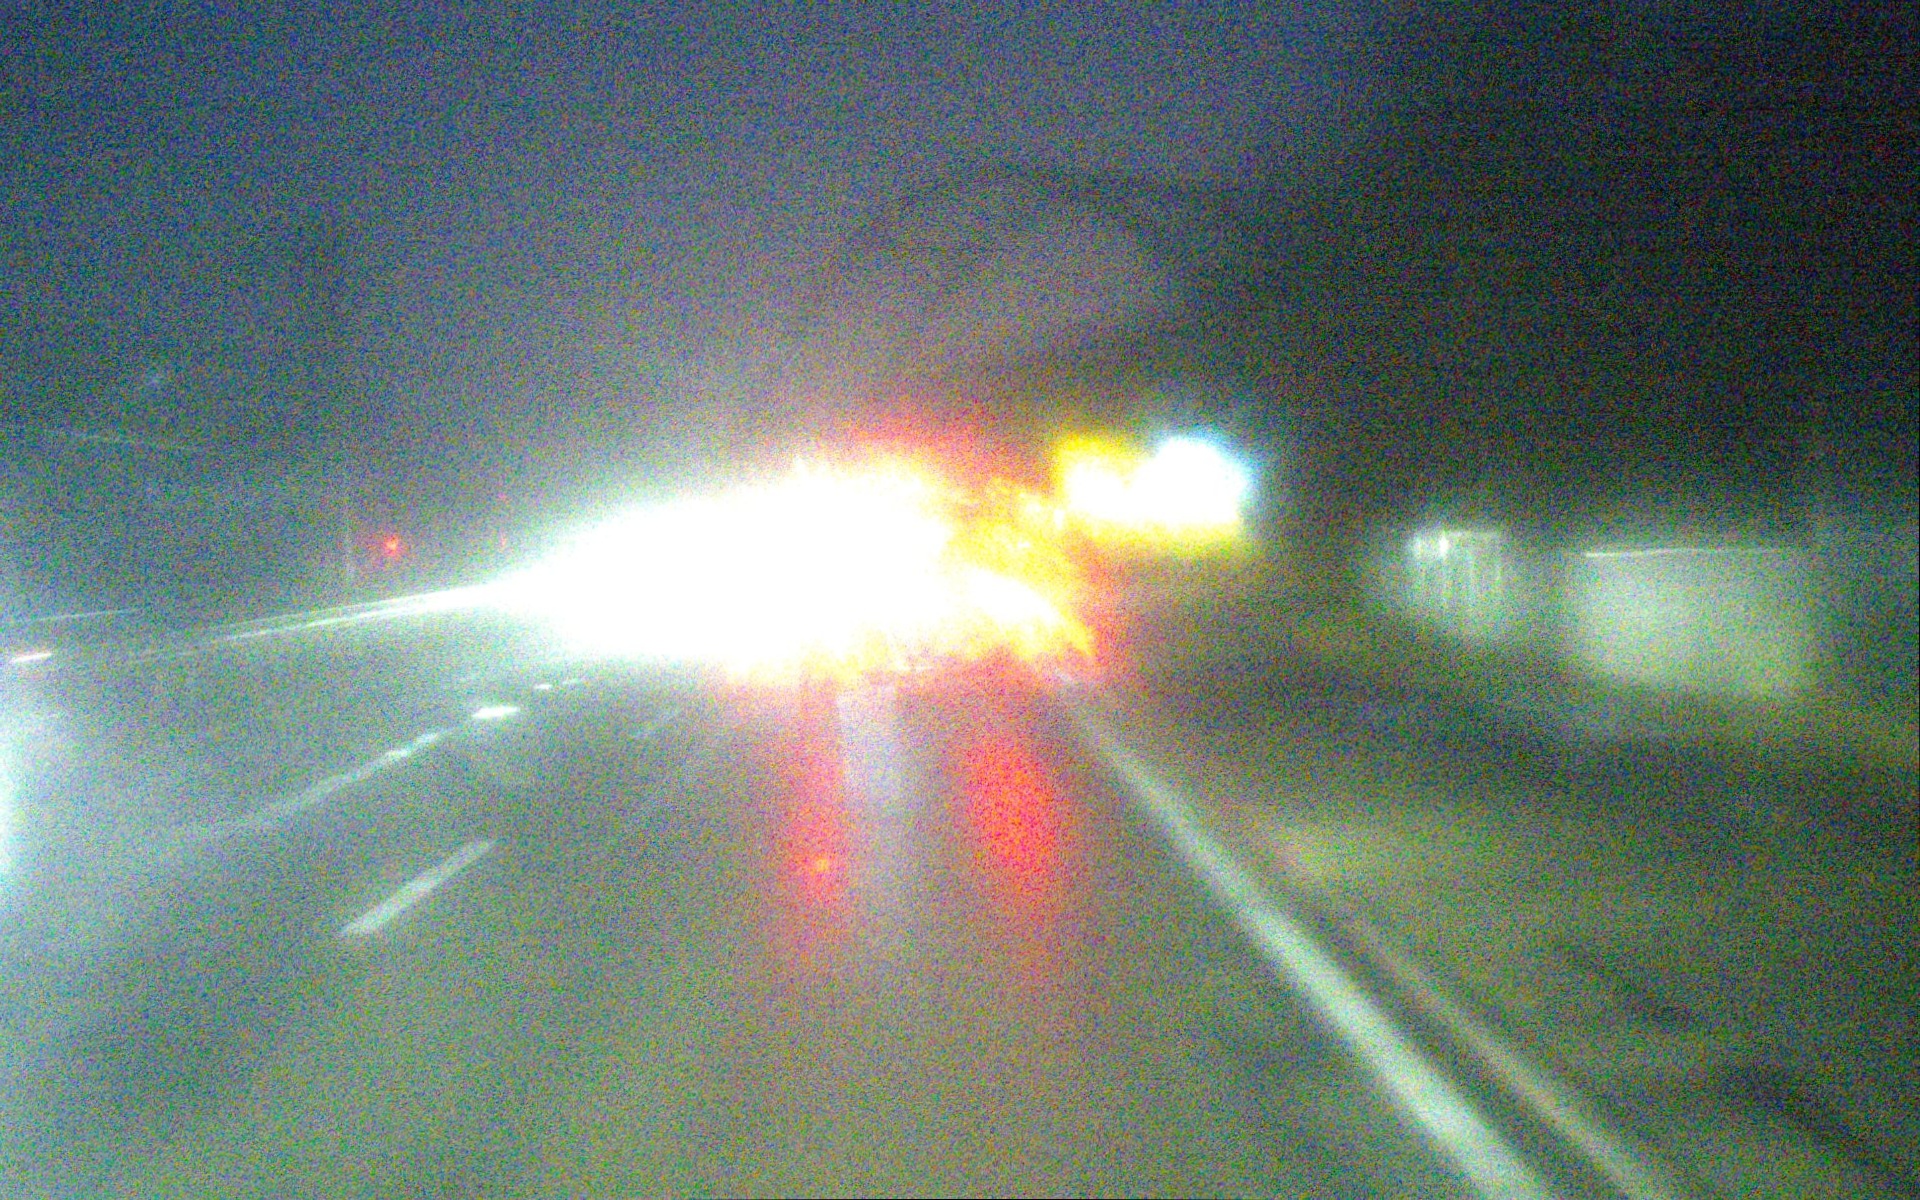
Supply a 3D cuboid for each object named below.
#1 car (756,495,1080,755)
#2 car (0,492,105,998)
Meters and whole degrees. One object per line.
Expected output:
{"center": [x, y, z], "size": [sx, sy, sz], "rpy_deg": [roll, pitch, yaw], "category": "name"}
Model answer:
{"center": [-0.445, 0.208, 28.996], "size": [2.457, 1.952, 4.912], "rpy_deg": [-1, 0, -3], "category": "car"}
{"center": [-4.132, 0.541, 10.669], "size": [1.855, 1.677, 4.325], "rpy_deg": [-3, 2, -1], "category": "car"}
